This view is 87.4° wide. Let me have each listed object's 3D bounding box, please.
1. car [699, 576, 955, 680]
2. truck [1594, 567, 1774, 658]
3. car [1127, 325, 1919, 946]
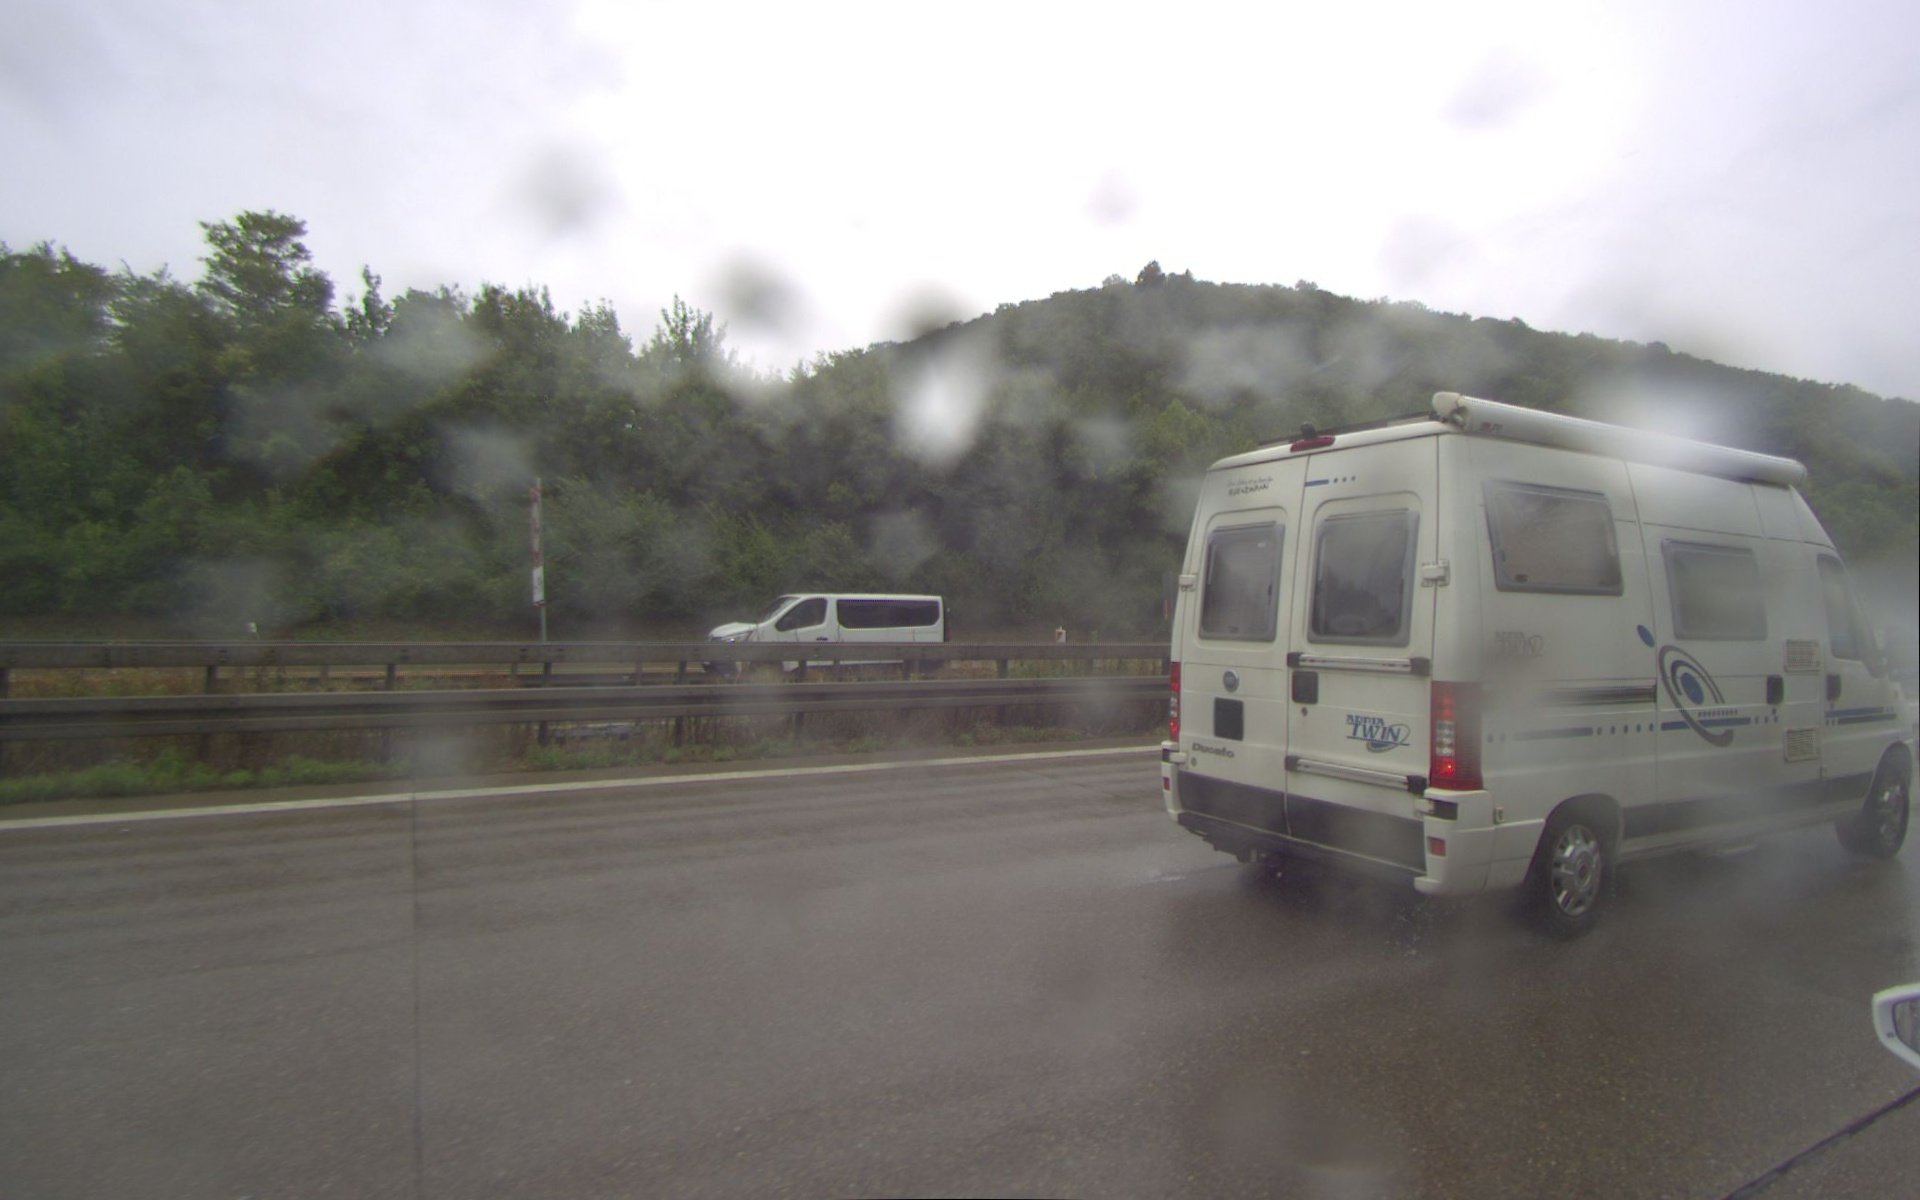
[{"bbox_3d":[-2.848,0.598,21.849,5.136,2.040,1.968,2,1,-30],"label":"car"},{"bbox_3d":[32.414,0.604,44.819,9.679,3.750,2.574,1,1,-29],"label":"truck"},{"bbox_3d":[3.923,0.184,6.328,5.724,2.464,1.987,1,0,-31],"label":"car"}]
